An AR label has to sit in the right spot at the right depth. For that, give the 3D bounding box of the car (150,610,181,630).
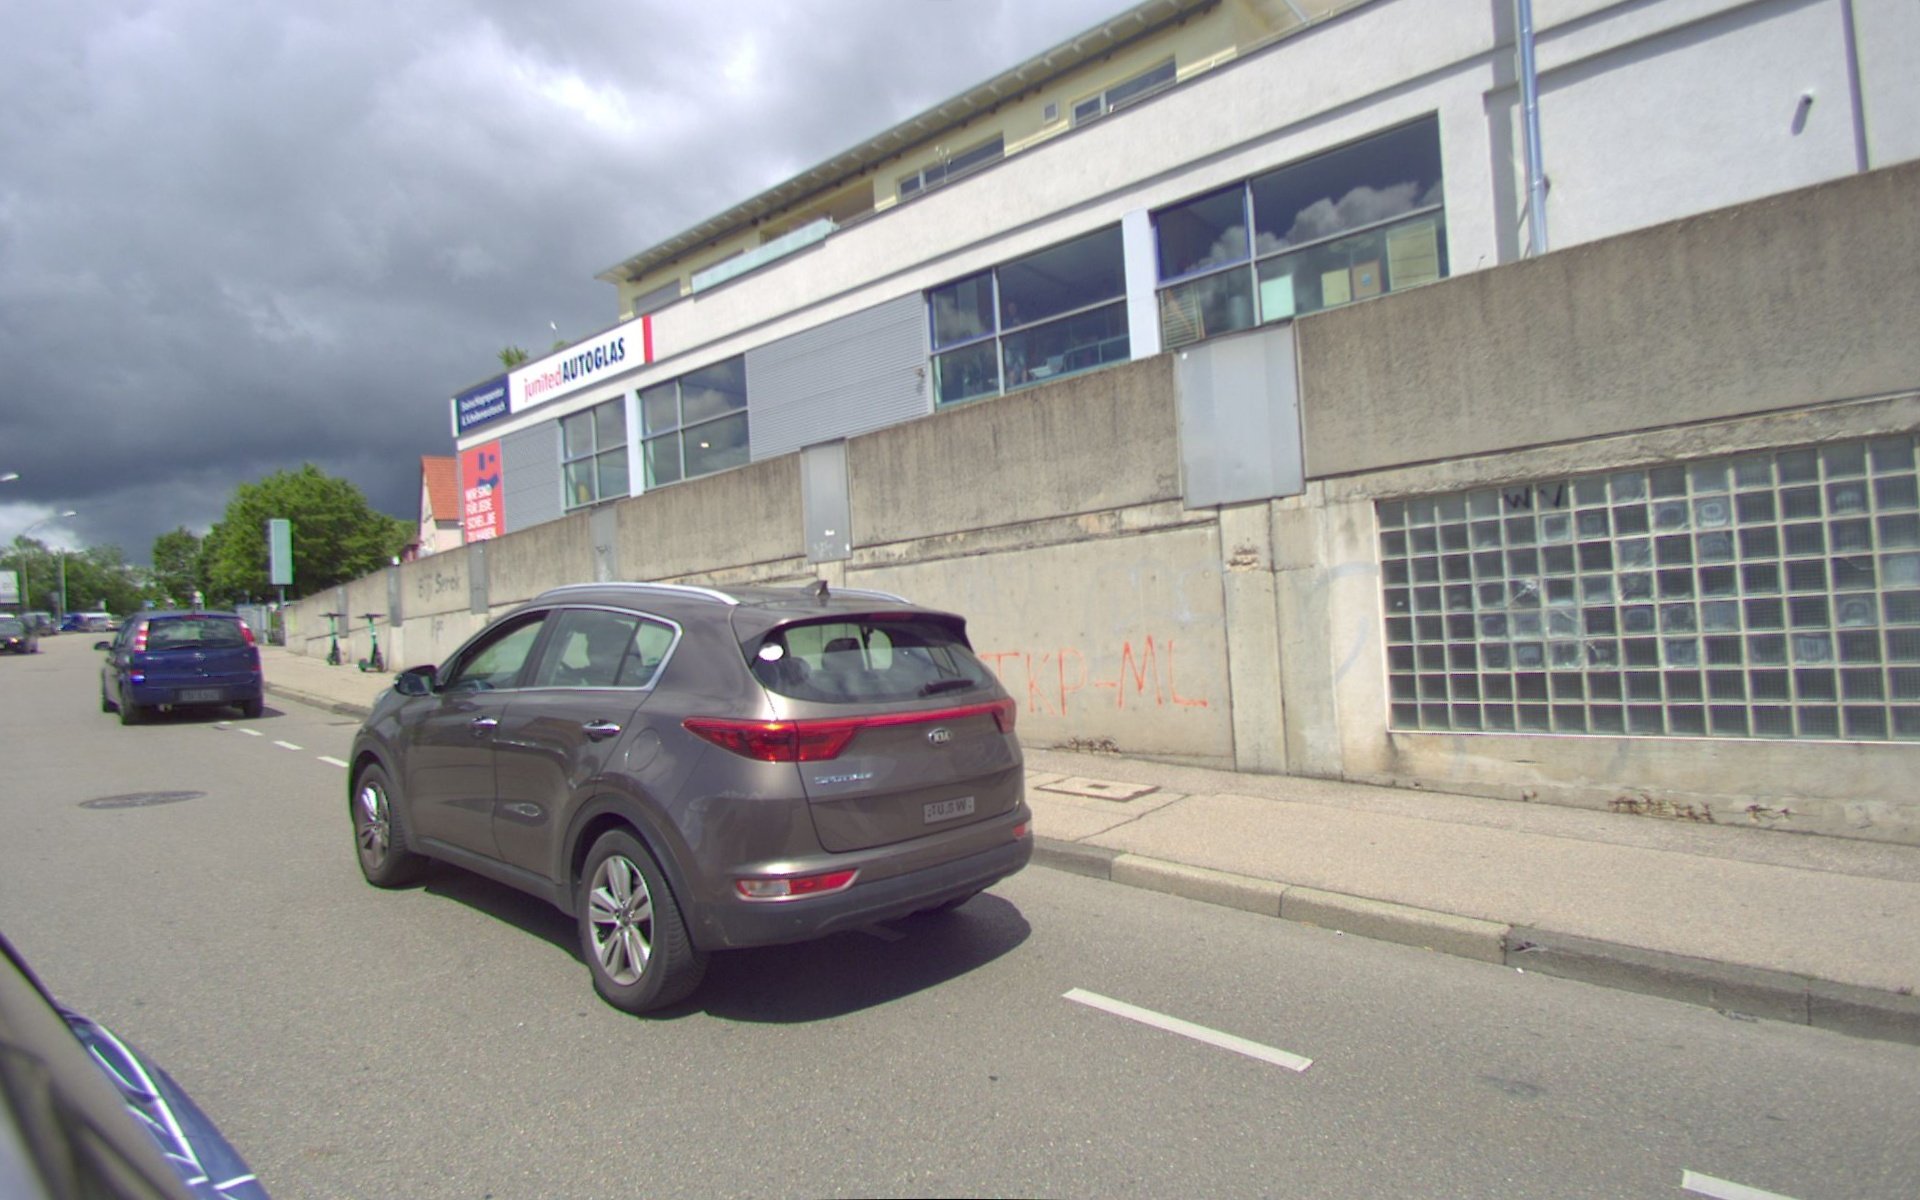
[{"bbox_3d":[-65.100,1.610,82.995,1.579,1.502,3.692,-1,0,-32],"label":"car"}]

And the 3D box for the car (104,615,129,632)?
[{"bbox_3d":[-78.195,2.144,93.863,1.621,1.544,4.231,-2,0,-37],"label":"car"}]

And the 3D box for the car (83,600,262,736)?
[{"bbox_3d":[-12.129,0.938,15.510,3.780,1.831,1.609,-1,-1,43],"label":"car"}]

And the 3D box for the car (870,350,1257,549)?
[{"bbox_3d":[1.056,-1.513,11.536,4.102,1.649,1.787,-1,0,41],"label":"car"}]

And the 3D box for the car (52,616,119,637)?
[{"bbox_3d":[-92.862,2.831,107.545,1.948,1.984,5.096,-1,0,21],"label":"car"}]

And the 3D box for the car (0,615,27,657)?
[{"bbox_3d":[-36.506,1.337,38.356,1.561,1.517,3.963,-2,0,-41],"label":"car"}]

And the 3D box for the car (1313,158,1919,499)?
[{"bbox_3d":[5.083,-1.807,7.766,4.102,1.649,1.787,-1,0,41],"label":"car"}]

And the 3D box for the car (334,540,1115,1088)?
[{"bbox_3d":[-1.447,0.674,5.066,4.091,1.634,1.780,-1,-1,42],"label":"car"}]

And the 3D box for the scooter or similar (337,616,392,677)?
[{"bbox_3d":[-13.144,1.005,22.314,1.381,1.285,0.514,-1,2,38],"label":"scooter or similar"}]

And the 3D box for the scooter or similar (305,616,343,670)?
[{"bbox_3d":[-15.759,1.037,25.064,0.550,1.285,1.307,-1,0,-42],"label":"scooter or similar"}]
